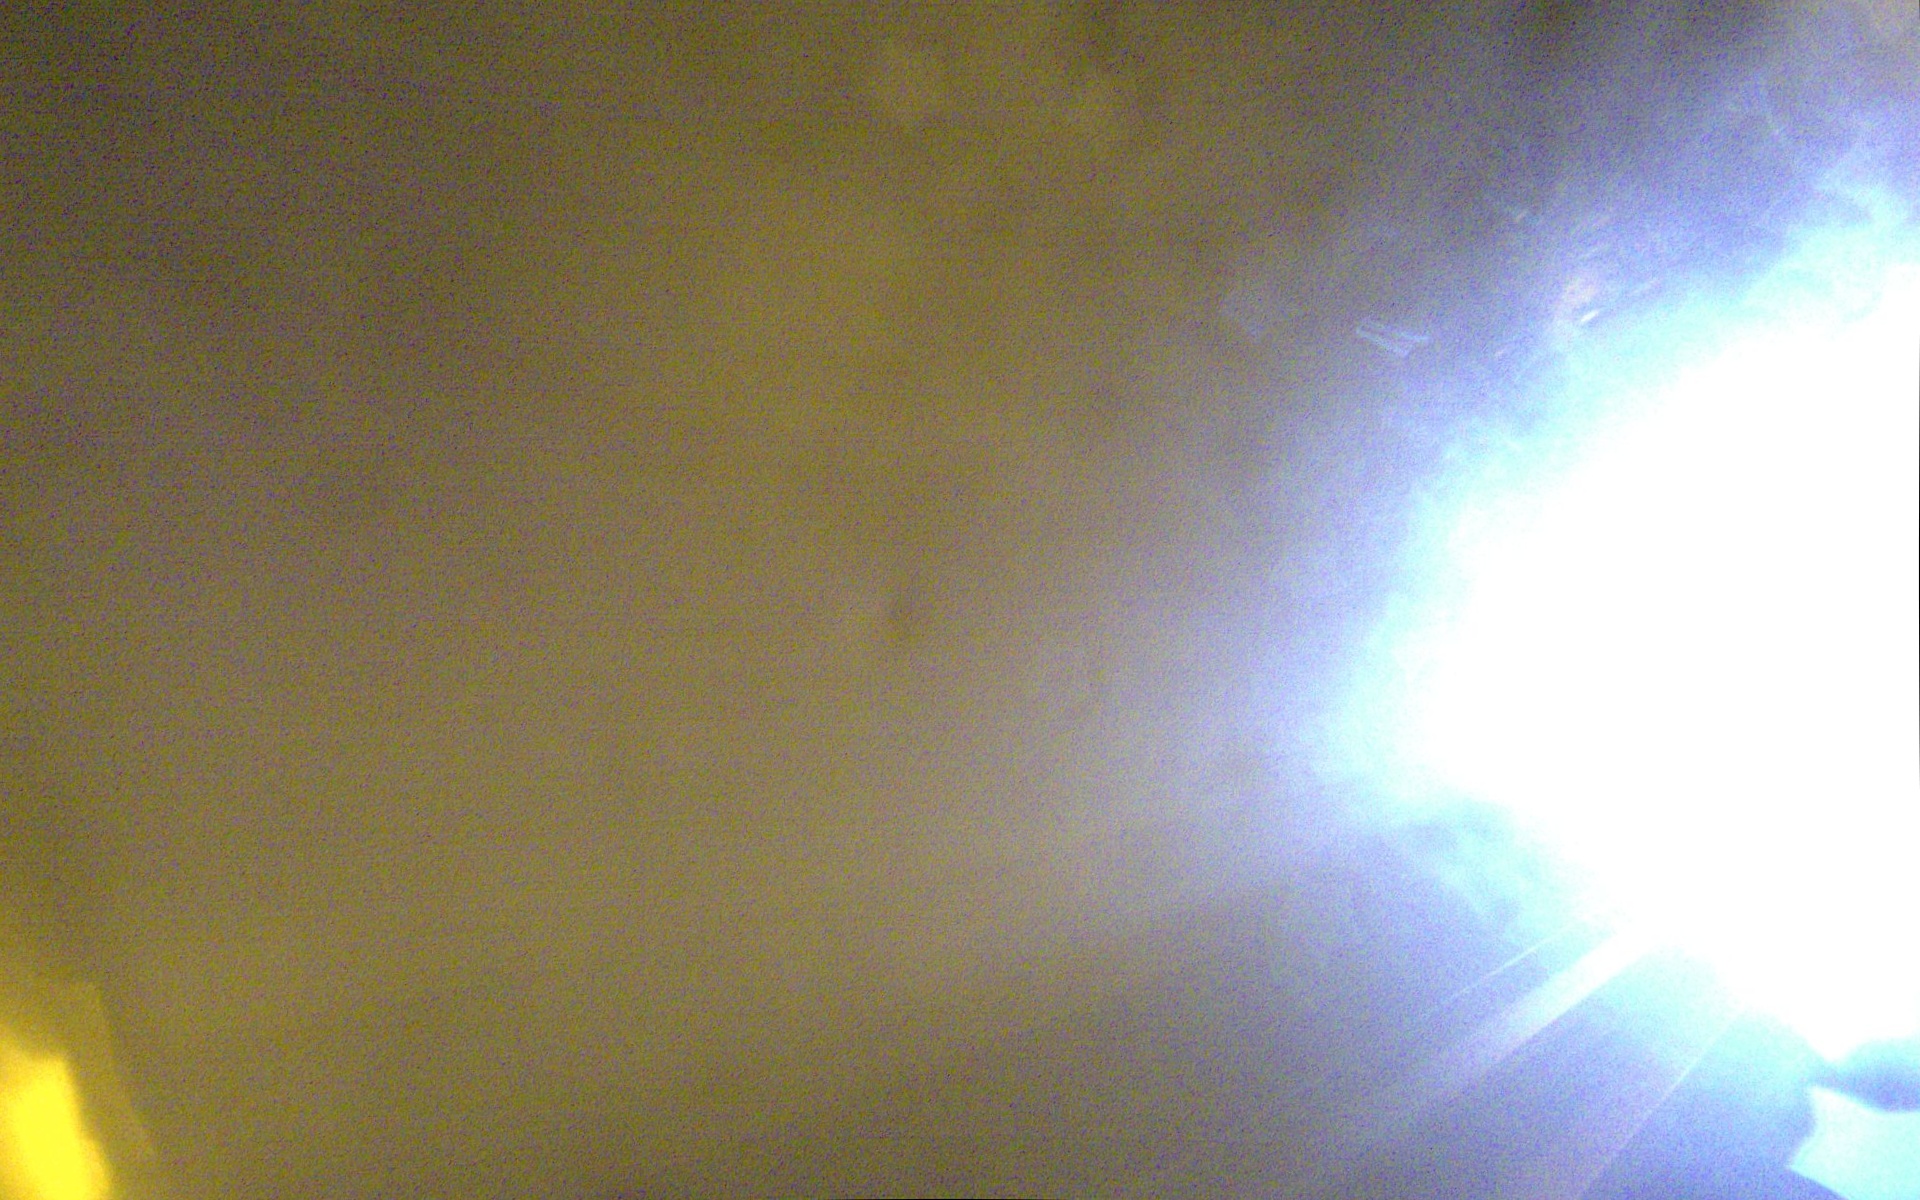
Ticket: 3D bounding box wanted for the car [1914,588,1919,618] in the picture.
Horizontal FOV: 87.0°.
[{"bbox_3d":[67.749,0.223,70.204,1.891,2.039,3.944,1,1,39],"label":"car"}]
